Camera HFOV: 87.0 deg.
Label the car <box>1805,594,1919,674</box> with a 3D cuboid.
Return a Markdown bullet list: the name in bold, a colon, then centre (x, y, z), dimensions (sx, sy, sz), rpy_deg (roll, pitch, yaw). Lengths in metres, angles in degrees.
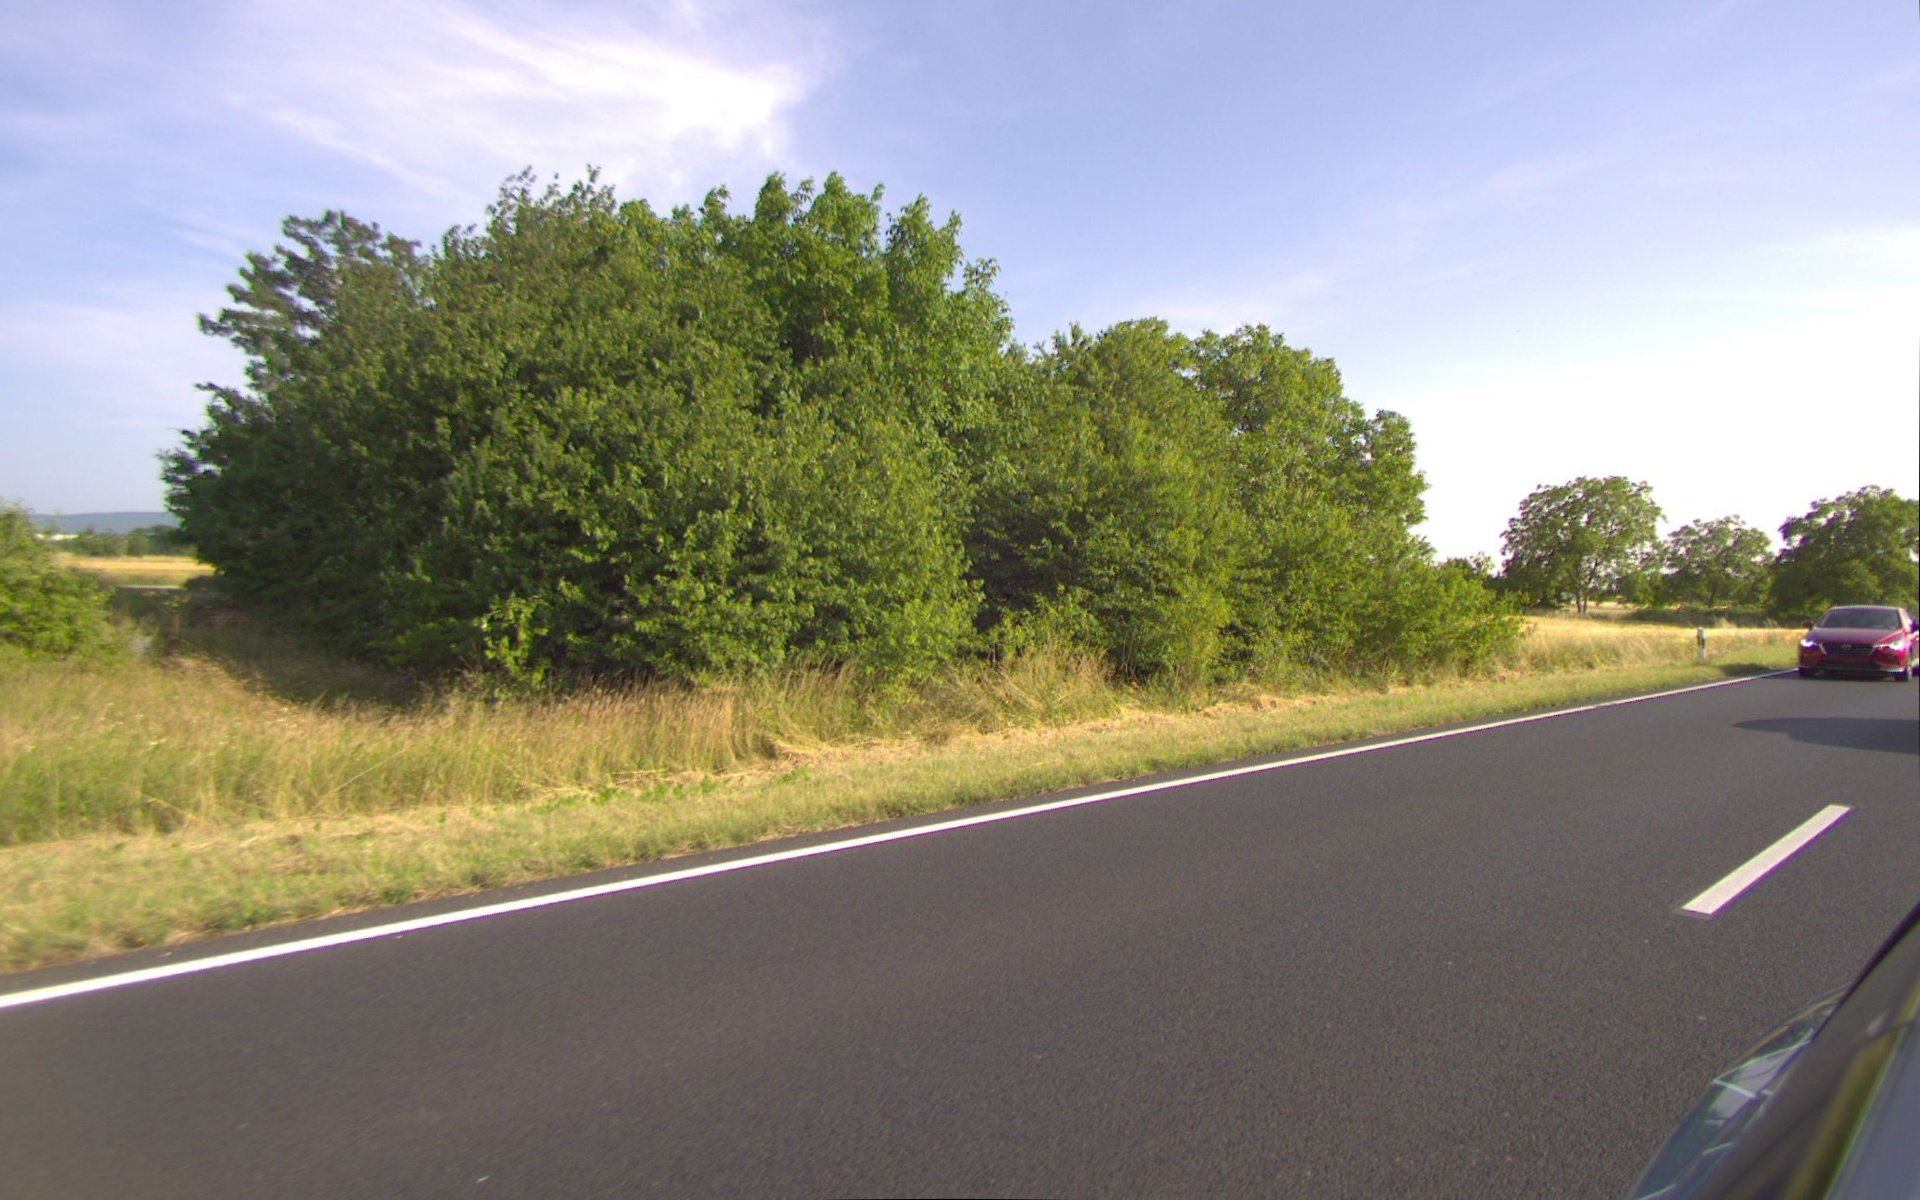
- **car**: centre (19.596, 0.639, 21.634), dimensions (4.423, 1.525, 1.707), rpy_deg (-1, 1, -41)
